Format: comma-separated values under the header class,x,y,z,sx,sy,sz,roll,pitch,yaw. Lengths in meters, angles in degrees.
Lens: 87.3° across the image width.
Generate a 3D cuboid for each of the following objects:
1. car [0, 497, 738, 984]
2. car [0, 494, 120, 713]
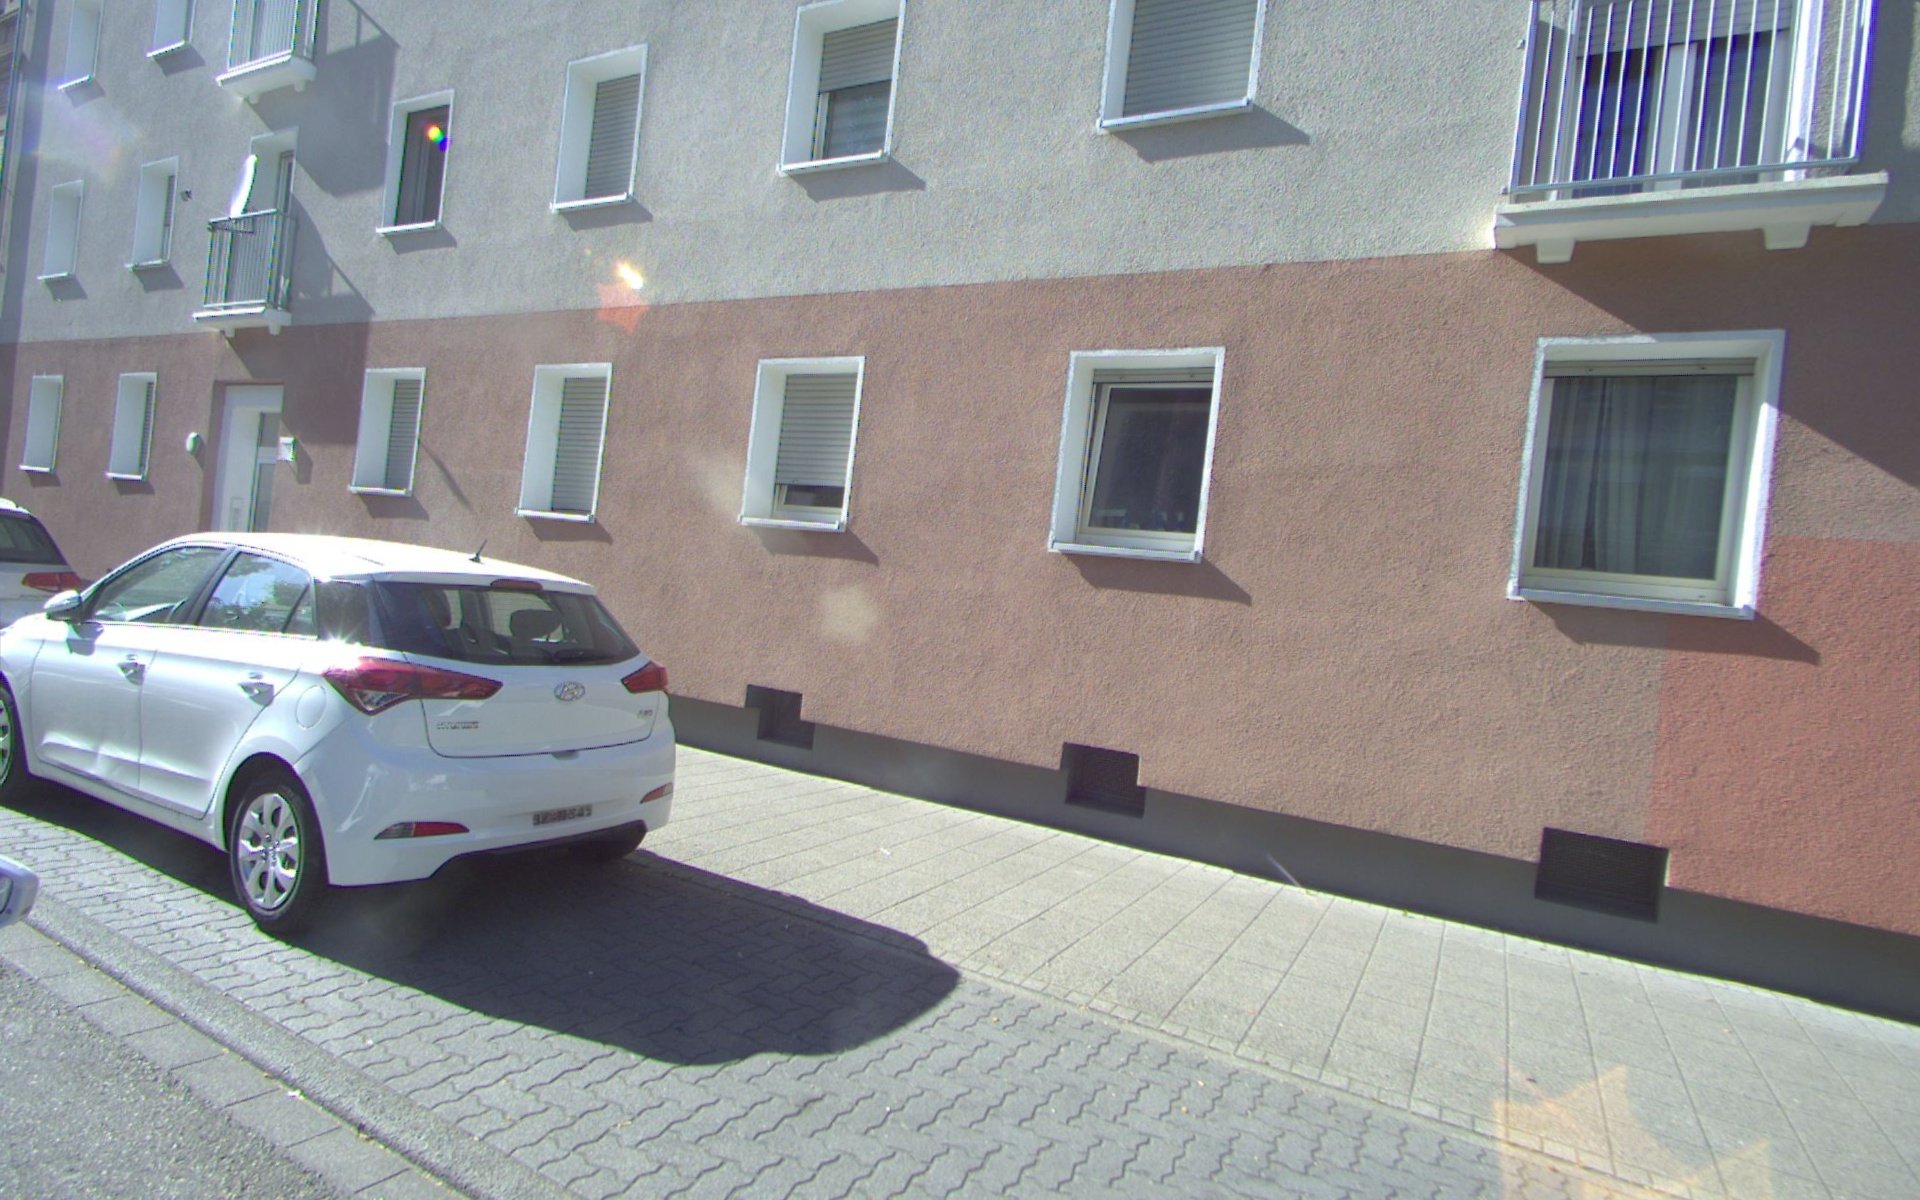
class,x,y,z,sx,sy,sz,roll,pitch,yaw
car,-3.189,0.418,5.043,3.729,1.505,1.734,6,1,28
car,-8.517,-0.187,7.714,4.441,1.478,1.787,6,0,31
